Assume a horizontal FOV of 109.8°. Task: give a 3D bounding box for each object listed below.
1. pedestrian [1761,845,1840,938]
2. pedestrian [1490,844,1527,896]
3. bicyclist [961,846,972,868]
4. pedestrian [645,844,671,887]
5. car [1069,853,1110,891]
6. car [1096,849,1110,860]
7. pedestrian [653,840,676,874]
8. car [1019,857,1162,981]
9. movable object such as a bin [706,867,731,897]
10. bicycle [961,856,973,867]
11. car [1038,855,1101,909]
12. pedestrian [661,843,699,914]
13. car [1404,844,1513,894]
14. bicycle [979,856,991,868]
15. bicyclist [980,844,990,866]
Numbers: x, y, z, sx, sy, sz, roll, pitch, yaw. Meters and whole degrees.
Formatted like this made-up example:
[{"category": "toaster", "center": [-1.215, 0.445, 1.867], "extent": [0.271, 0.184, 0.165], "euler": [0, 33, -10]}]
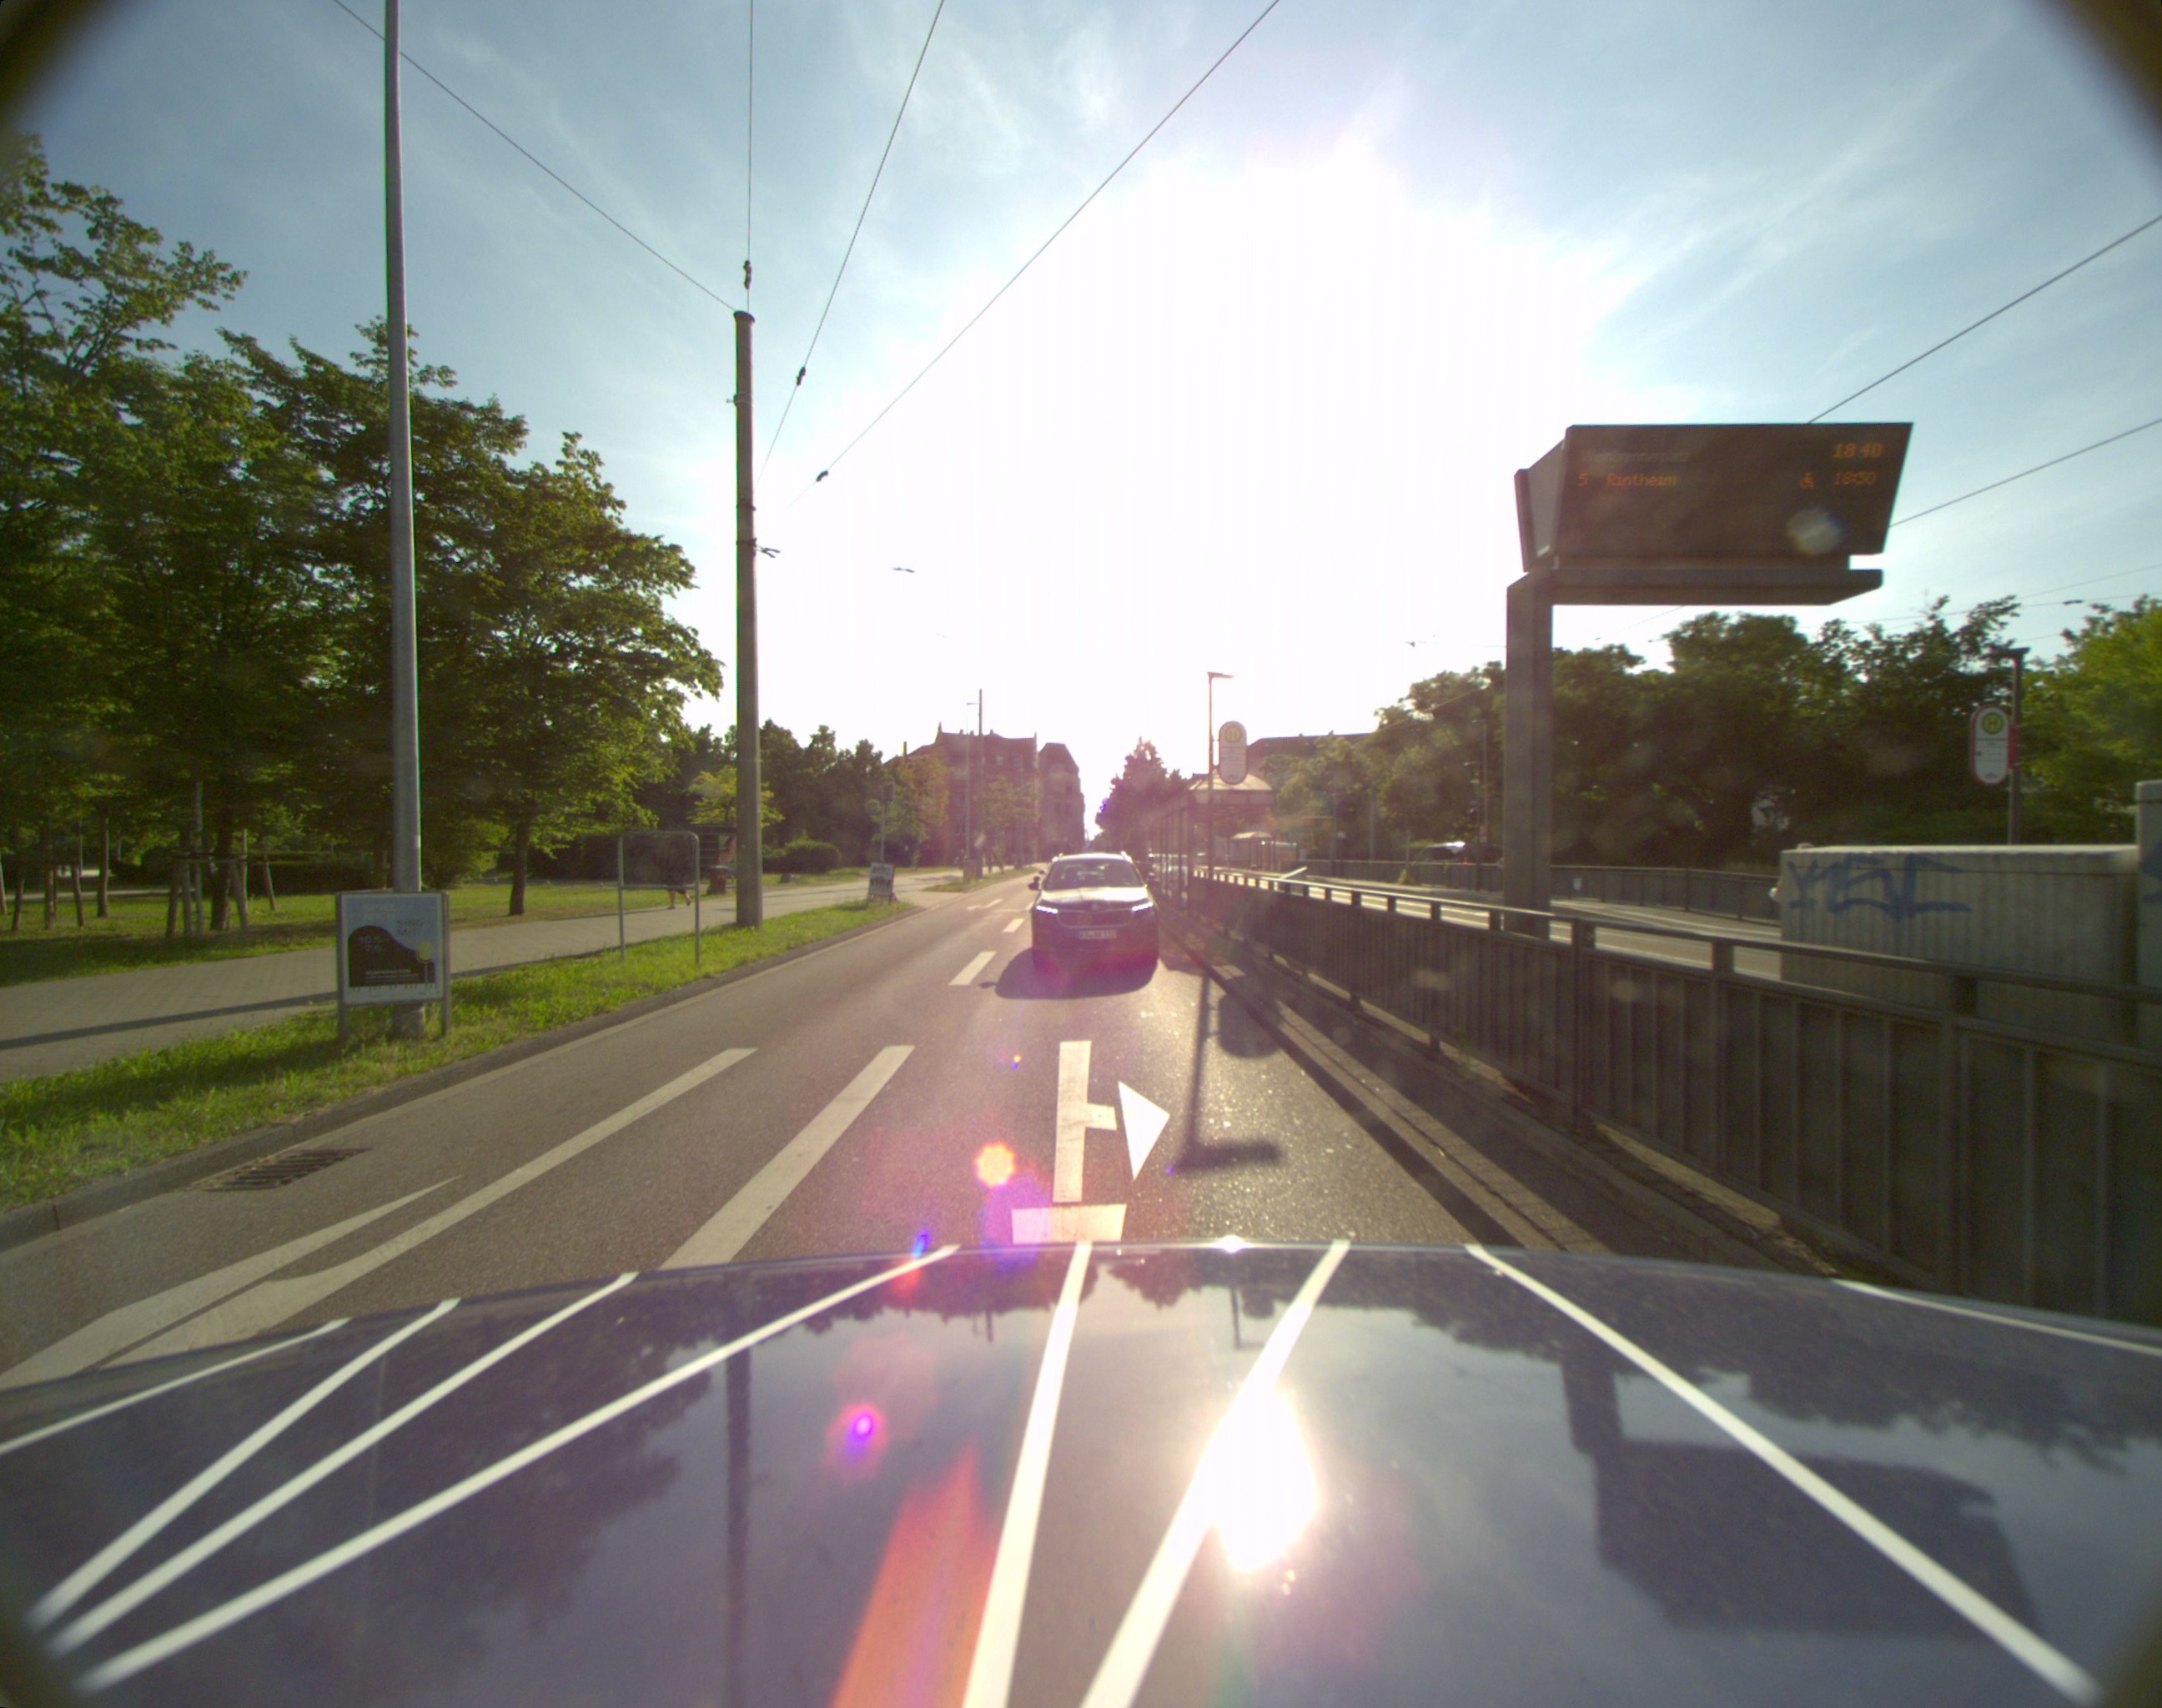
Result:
[{"category": "pedestrian", "center": [12.923, 0.656, 13.662], "extent": [0.708, 1.618, 0.727], "euler": [0, 1, 0]}, {"category": "pedestrian", "center": [13.369, 0.497, 23.773], "extent": [0.736, 1.618, 0.689], "euler": [0, 1, 0]}, {"category": "bicyclist", "center": [-9.217, 0.212, 61.310], "extent": [0.754, 1.763, 1.118], "euler": [0, 1, -1]}, {"category": "pedestrian", "center": [-16.625, 0.437, 29.863], "extent": [0.660, 1.641, 0.623], "euler": [1, 1, 25]}, {"category": "car", "center": [0.365, 0.729, 32.732], "extent": [1.672, 1.496, 3.871], "euler": [0, 0, 0]}, {"category": "car", "center": [3.323, 0.114, 115.617], "extent": [1.999, 1.674, 3.999], "euler": [0, 0, -1]}, {"category": "pedestrian", "center": [-26.394, 0.174, 48.209], "extent": [0.910, 2.145, 0.891], "euler": [0, 1, 13]}, {"category": "car", "center": [0.138, 0.835, 11.705], "extent": [1.781, 1.496, 4.000], "euler": [-2, 0, 0]}, {"category": "movable object such as a bin", "center": [-11.329, 0.862, 23.729], "extent": [0.502, 0.898, 0.526], "euler": [1, 1, 39]}, {"category": "bicycle", "center": [-9.204, 0.598, 61.400], "extent": [0.740, 0.912, 2.094], "euler": [0, 0, -1]}, {"category": "car", "center": [-0.307, 0.795, 23.323], "extent": [1.781, 1.496, 4.000], "euler": [0, 0, 0]}, {"category": "pedestrian", "center": [-9.747, 0.577, 18.470], "extent": [0.558, 1.691, 0.662], "euler": [0, 1, 0]}, {"category": "car", "center": [16.390, 0.595, 33.358], "extent": [2.151, 2.002, 5.386], "euler": [0, 0, 1]}, {"category": "bicycle", "center": [-7.796, 0.622, 61.721], "extent": [0.740, 0.912, 2.094], "euler": [0, 0, 1]}, {"category": "bicyclist", "center": [-7.791, 0.081, 61.779], "extent": [0.730, 1.763, 1.015], "euler": [0, 1, -1]}]
